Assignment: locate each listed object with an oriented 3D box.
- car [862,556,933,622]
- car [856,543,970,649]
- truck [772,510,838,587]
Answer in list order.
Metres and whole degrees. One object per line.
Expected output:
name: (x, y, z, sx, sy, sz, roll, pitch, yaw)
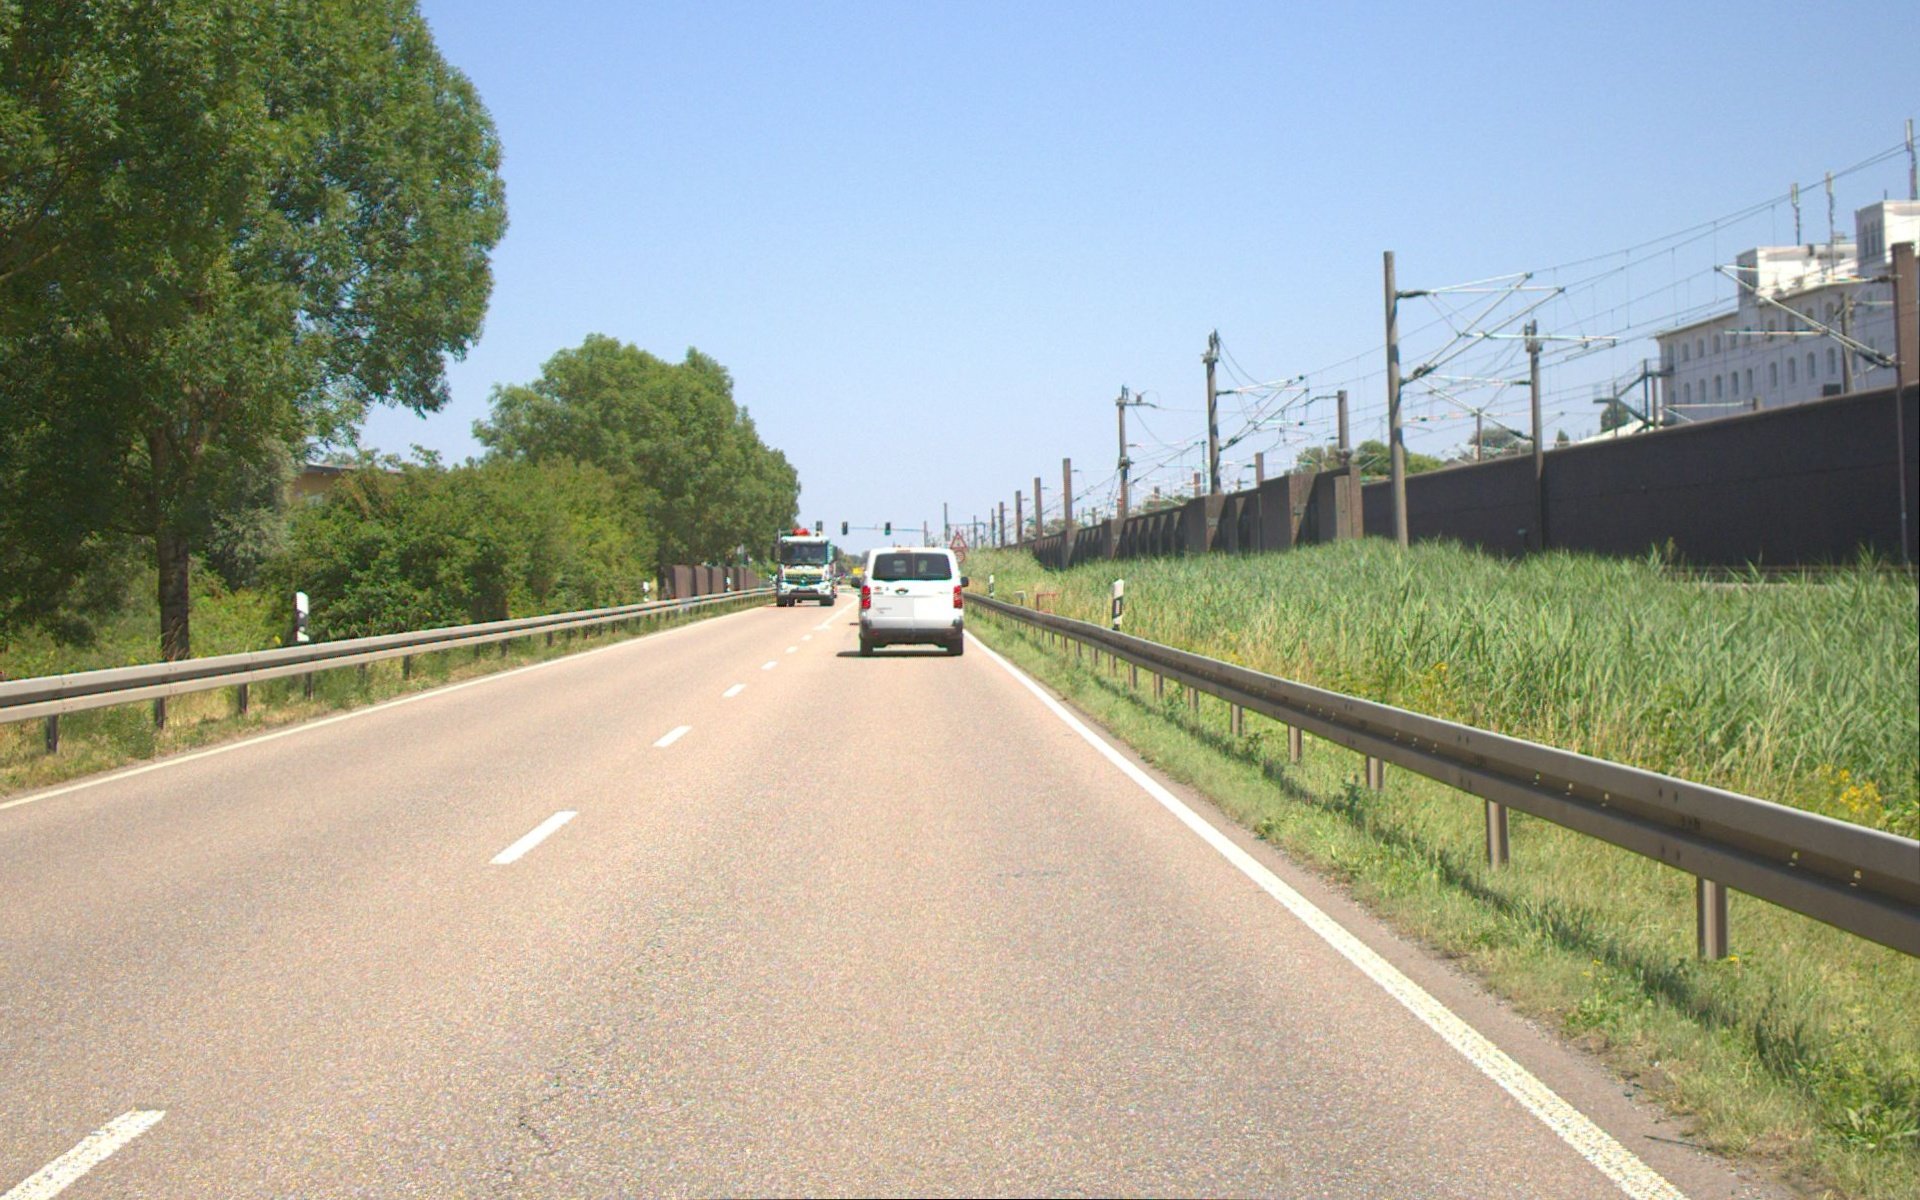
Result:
car: (-1.815, -0.333, 99.431, 1.993, 1.844, 4.000, 0, 1, -1)
car: (-0.853, -0.098, 62.055, 1.993, 1.844, 4.000, 0, 1, -1)
truck: (-6.996, -2.313, 155.805, 2.783, 3.393, 7.989, 0, 1, -1)
